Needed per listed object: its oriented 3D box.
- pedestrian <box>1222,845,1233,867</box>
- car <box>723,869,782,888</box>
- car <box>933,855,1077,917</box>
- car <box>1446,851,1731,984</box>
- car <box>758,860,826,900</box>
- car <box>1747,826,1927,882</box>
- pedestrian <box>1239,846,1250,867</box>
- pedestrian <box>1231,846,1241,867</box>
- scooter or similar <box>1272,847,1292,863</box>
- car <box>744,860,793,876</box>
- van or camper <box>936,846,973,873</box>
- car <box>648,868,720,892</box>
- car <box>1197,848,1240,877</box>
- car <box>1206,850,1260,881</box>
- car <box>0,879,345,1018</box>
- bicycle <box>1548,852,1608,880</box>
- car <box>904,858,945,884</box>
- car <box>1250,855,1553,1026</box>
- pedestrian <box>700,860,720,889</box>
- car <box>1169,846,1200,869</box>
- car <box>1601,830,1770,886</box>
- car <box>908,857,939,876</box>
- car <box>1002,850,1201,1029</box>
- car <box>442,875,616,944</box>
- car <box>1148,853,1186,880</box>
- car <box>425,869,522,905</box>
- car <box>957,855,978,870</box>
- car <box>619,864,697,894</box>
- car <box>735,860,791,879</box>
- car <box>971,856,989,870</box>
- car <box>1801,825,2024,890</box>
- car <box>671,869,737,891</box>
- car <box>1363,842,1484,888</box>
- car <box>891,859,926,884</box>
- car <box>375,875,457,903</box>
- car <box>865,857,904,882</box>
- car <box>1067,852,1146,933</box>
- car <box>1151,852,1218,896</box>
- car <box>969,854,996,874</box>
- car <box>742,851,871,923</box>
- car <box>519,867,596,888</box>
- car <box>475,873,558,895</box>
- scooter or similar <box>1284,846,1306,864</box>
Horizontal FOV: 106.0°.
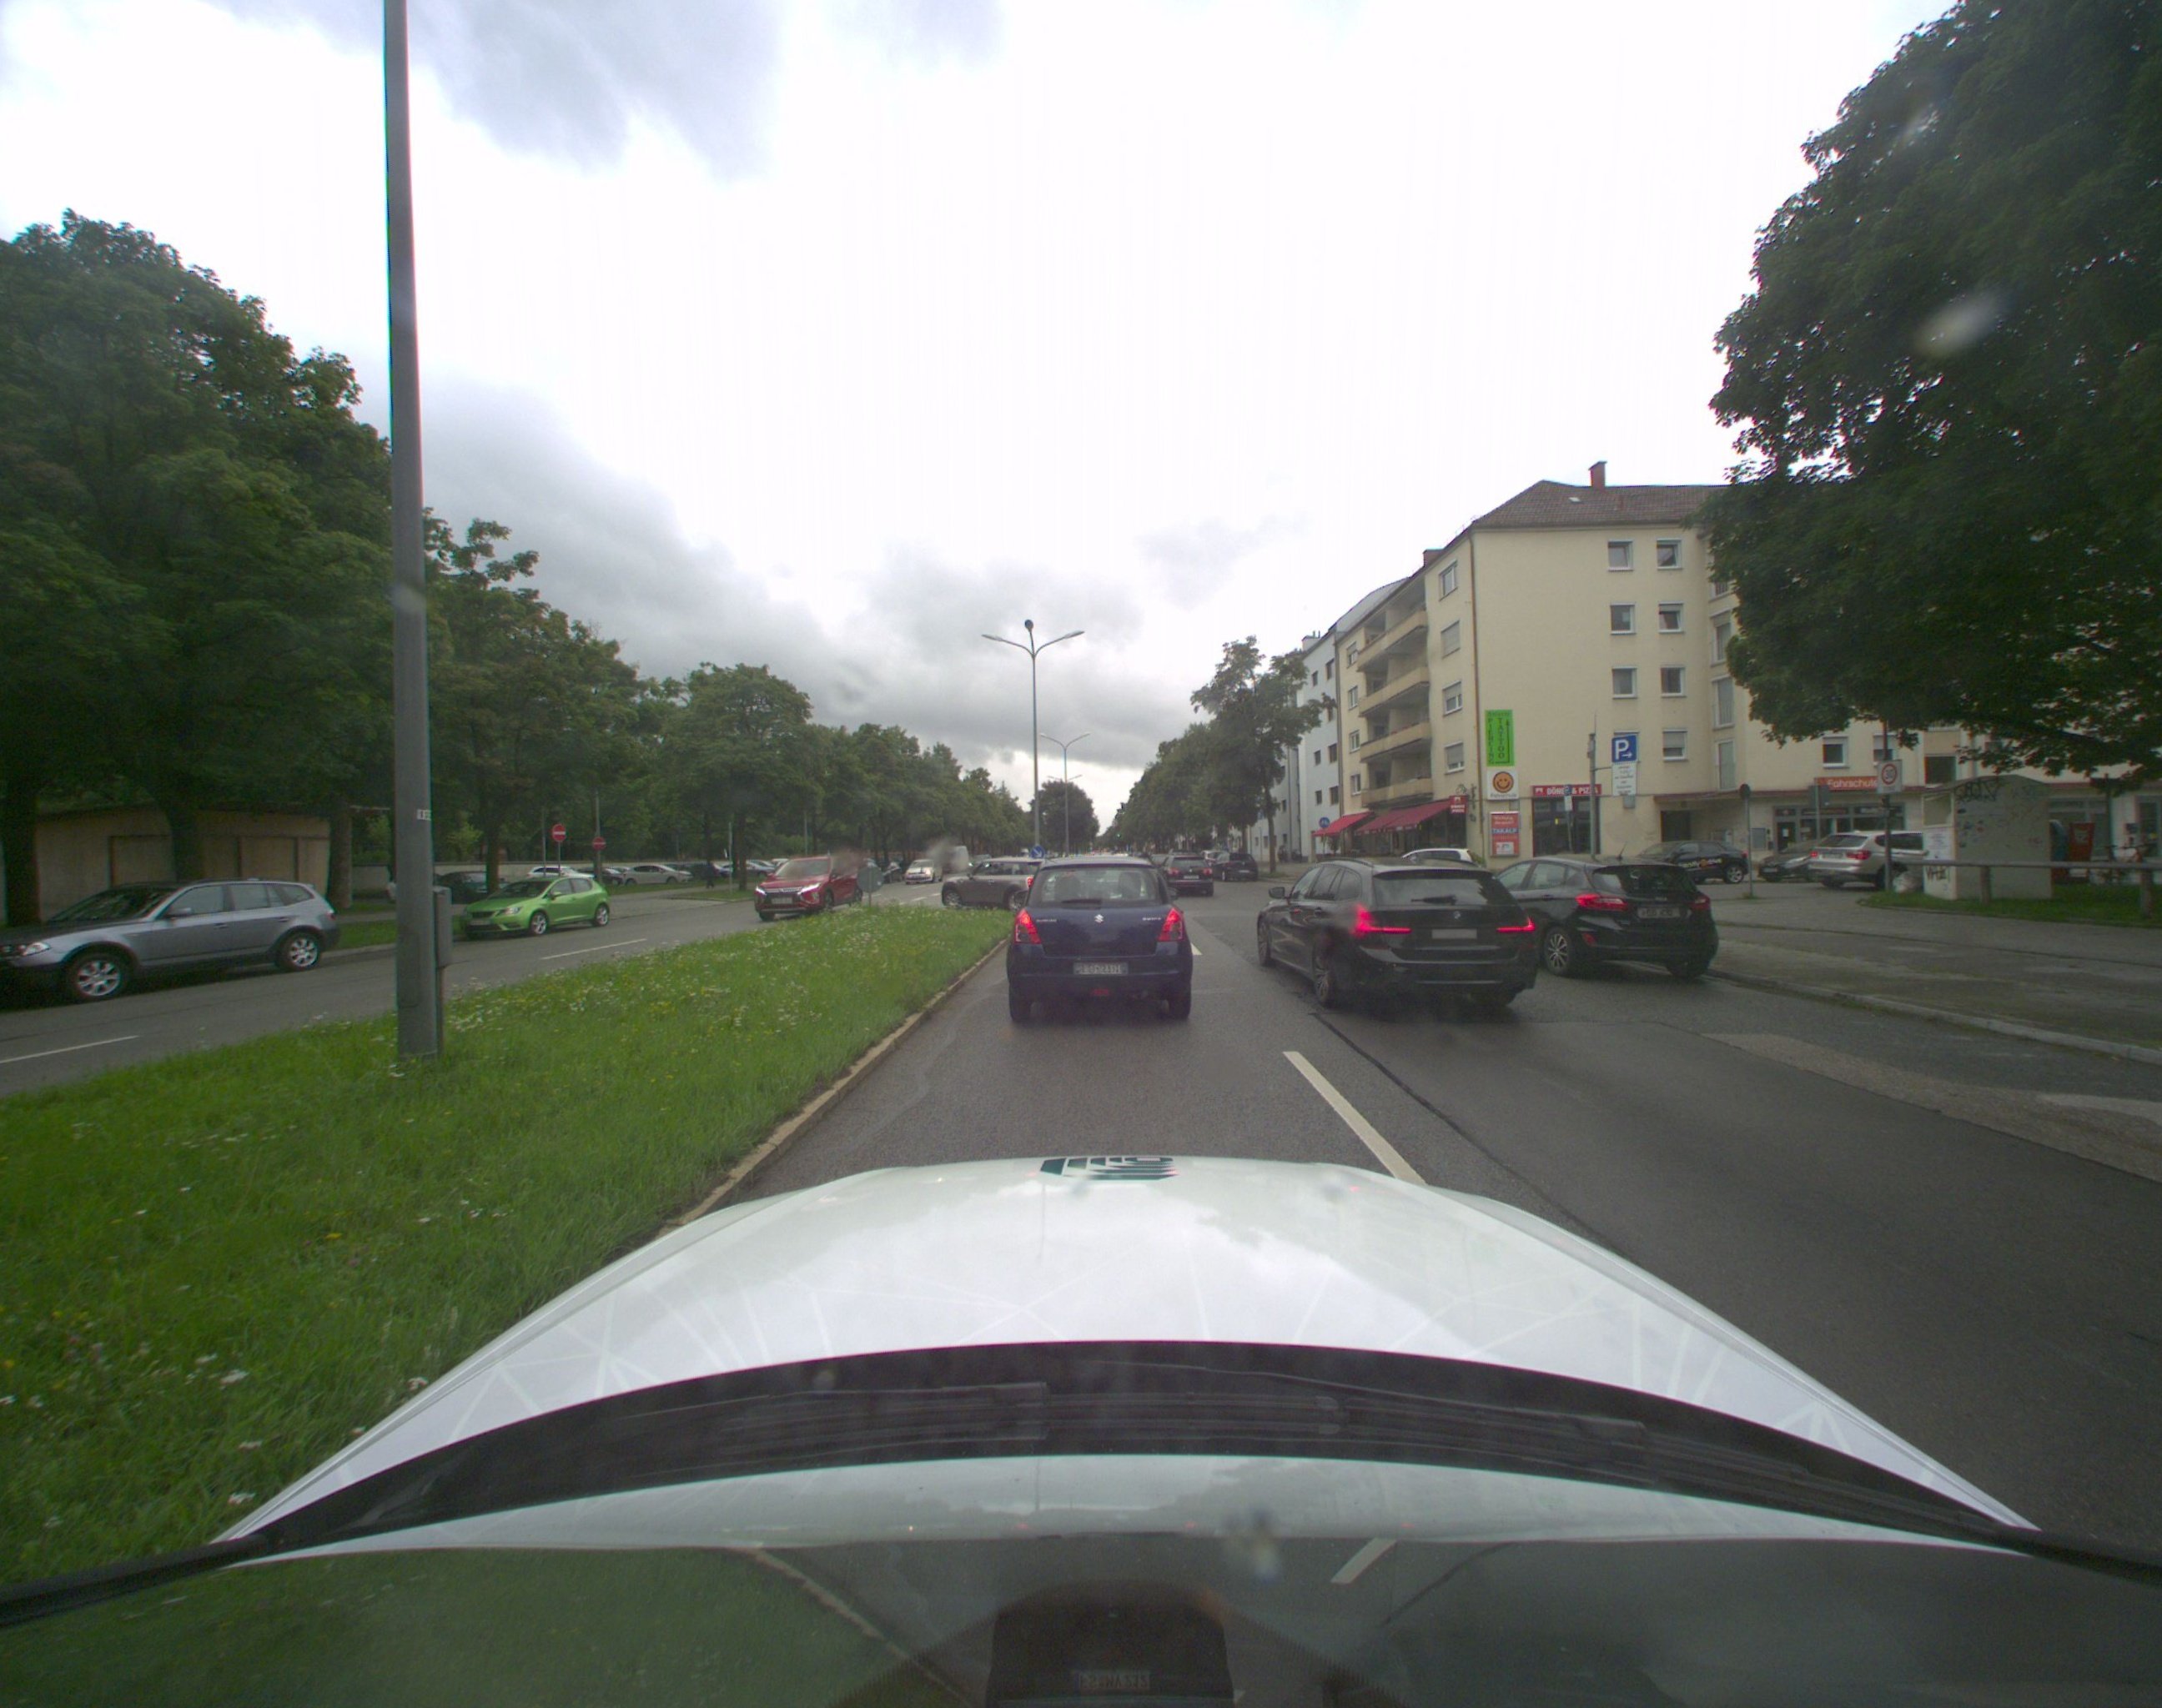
[{"bbox_3d":[13.943,0.205,77.584,0.791,2.013,1.006,-1,0,2],"label":"pedestrian"},{"bbox_3d":[-25.350,1.879,62.976,3.859,1.445,1.670,-1,0,-4],"label":"car"},{"bbox_3d":[-2.059,0.799,21.563,3.686,1.463,1.698,-1,0,40],"label":"car"},{"bbox_3d":[6.471,0.706,10.895,1.611,1.465,3.675,0,0,1],"label":"car"},{"bbox_3d":[-13.454,1.175,38.120,1.711,1.741,3.879,-1,0,1],"label":"car"},{"bbox_3d":[25.382,0.005,27.436,4.381,1.661,1.870,-2,0,-2],"label":"car"},{"bbox_3d":[15.603,0.212,77.706,0.791,2.013,1.006,-1,0,2],"label":"pedestrian"},{"bbox_3d":[14.750,0.221,77.468,0.791,2.013,1.006,-1,0,2],"label":"pedestrian"},{"bbox_3d":[16.658,0.093,67.617,1.029,1.307,2.757,-2,0,2],"label":"scooter or similar"},{"bbox_3d":[-28.751,1.271,75.080,3.859,1.445,1.670,-1,0,-4],"label":"car"},{"bbox_3d":[-12.334,0.507,79.664,2.108,2.482,7.453,-1,0,2],"label":"van or camper"},{"bbox_3d":[-25.966,1.679,53.346,3.859,1.445,1.670,-1,0,-4],"label":"car"},{"bbox_3d":[7.797,0.451,46.521,1.785,1.558,4.225,-2,0,1],"label":"car"},{"bbox_3d":[7.692,0.552,41.579,1.860,1.417,4.221,-2,0,-2],"label":"car"},{"bbox_3d":[-14.168,1.299,12.481,1.685,1.586,4.371,-3,0,1],"label":"car"},{"bbox_3d":[17.981,0.433,29.466,1.841,0.957,0.557,-1,0,0],"label":"bicycle"},{"bbox_3d":[-9.357,0.989,48.924,1.612,1.375,3.838,-3,0,1],"label":"car"},{"bbox_3d":[3.174,0.736,9.123,1.752,1.413,4.464,0,0,1],"label":"car"},{"bbox_3d":[-20.011,1.115,43.971,0.725,1.534,0.721,-1,0,2],"label":"pedestrian"},{"bbox_3d":[8.124,0.275,64.293,1.859,1.682,4.224,-2,0,0],"label":"car"},{"bbox_3d":[20.352,0.133,27.527,4.383,1.661,1.869,-2,0,-3],"label":"car"},{"bbox_3d":[-12.642,0.983,65.479,1.627,1.431,3.879,-1,0,1],"label":"car"},{"bbox_3d":[0.198,0.720,8.951,1.676,1.502,3.919,-1,0,0],"label":"car"},{"bbox_3d":[-13.940,1.338,20.861,1.541,1.409,3.883,-3,0,4],"label":"car"},{"bbox_3d":[4.559,0.647,43.621,1.676,1.383,3.920,0,0,1],"label":"car"},{"bbox_3d":[-26.313,1.403,35.230,4.363,1.445,1.973,-1,-1,33],"label":"car"},{"bbox_3d":[-12.147,0.884,87.542,1.627,1.583,3.879,-1,0,1],"label":"car"},{"bbox_3d":[-26.181,1.537,50.513,3.911,1.718,1.670,-1,0,-4],"label":"car"},{"bbox_3d":[-25.774,1.245,66.151,3.859,1.445,1.670,-1,0,-4],"label":"car"},{"bbox_3d":[-11.784,1.081,95.186,1.627,1.583,3.879,-1,0,1],"label":"car"},{"bbox_3d":[23.406,0.064,23.055,4.377,1.660,1.873,-1,2,1],"label":"car"},{"bbox_3d":[-26.460,1.830,57.279,3.859,1.445,1.670,-1,0,-4],"label":"car"},{"bbox_3d":[11.618,0.375,27.637,3.514,1.417,1.883,-2,0,30],"label":"car"},{"bbox_3d":[-12.692,1.239,60.140,1.627,1.741,3.879,-1,0,1],"label":"car"},{"bbox_3d":[-31.023,1.596,37.962,4.363,1.201,1.683,-1,-1,33],"label":"car"},{"bbox_3d":[-12.915,0.998,53.765,1.585,1.558,3.879,-1,0,1],"label":"car"},{"bbox_3d":[0.487,0.713,16.689,1.439,1.483,3.106,-1,0,0],"label":"car"},{"bbox_3d":[3.650,0.668,29.400,1.726,1.432,4.439,0,0,-2],"label":"car"},{"bbox_3d":[-8.871,0.863,73.593,1.760,1.623,4.507,-3,0,1],"label":"car"},{"bbox_3d":[-7.471,0.822,22.629,1.896,1.696,4.247,-4,0,2],"label":"car"},{"bbox_3d":[-38.012,1.716,59.217,4.489,1.476,1.673,-1,-1,2],"label":"car"},{"bbox_3d":[-39.182,2.055,56.591,4.672,1.445,1.674,-1,0,3],"label":"car"},{"bbox_3d":[16.752,0.087,63.757,1.029,1.307,2.757,-2,0,2],"label":"scooter or similar"}]
